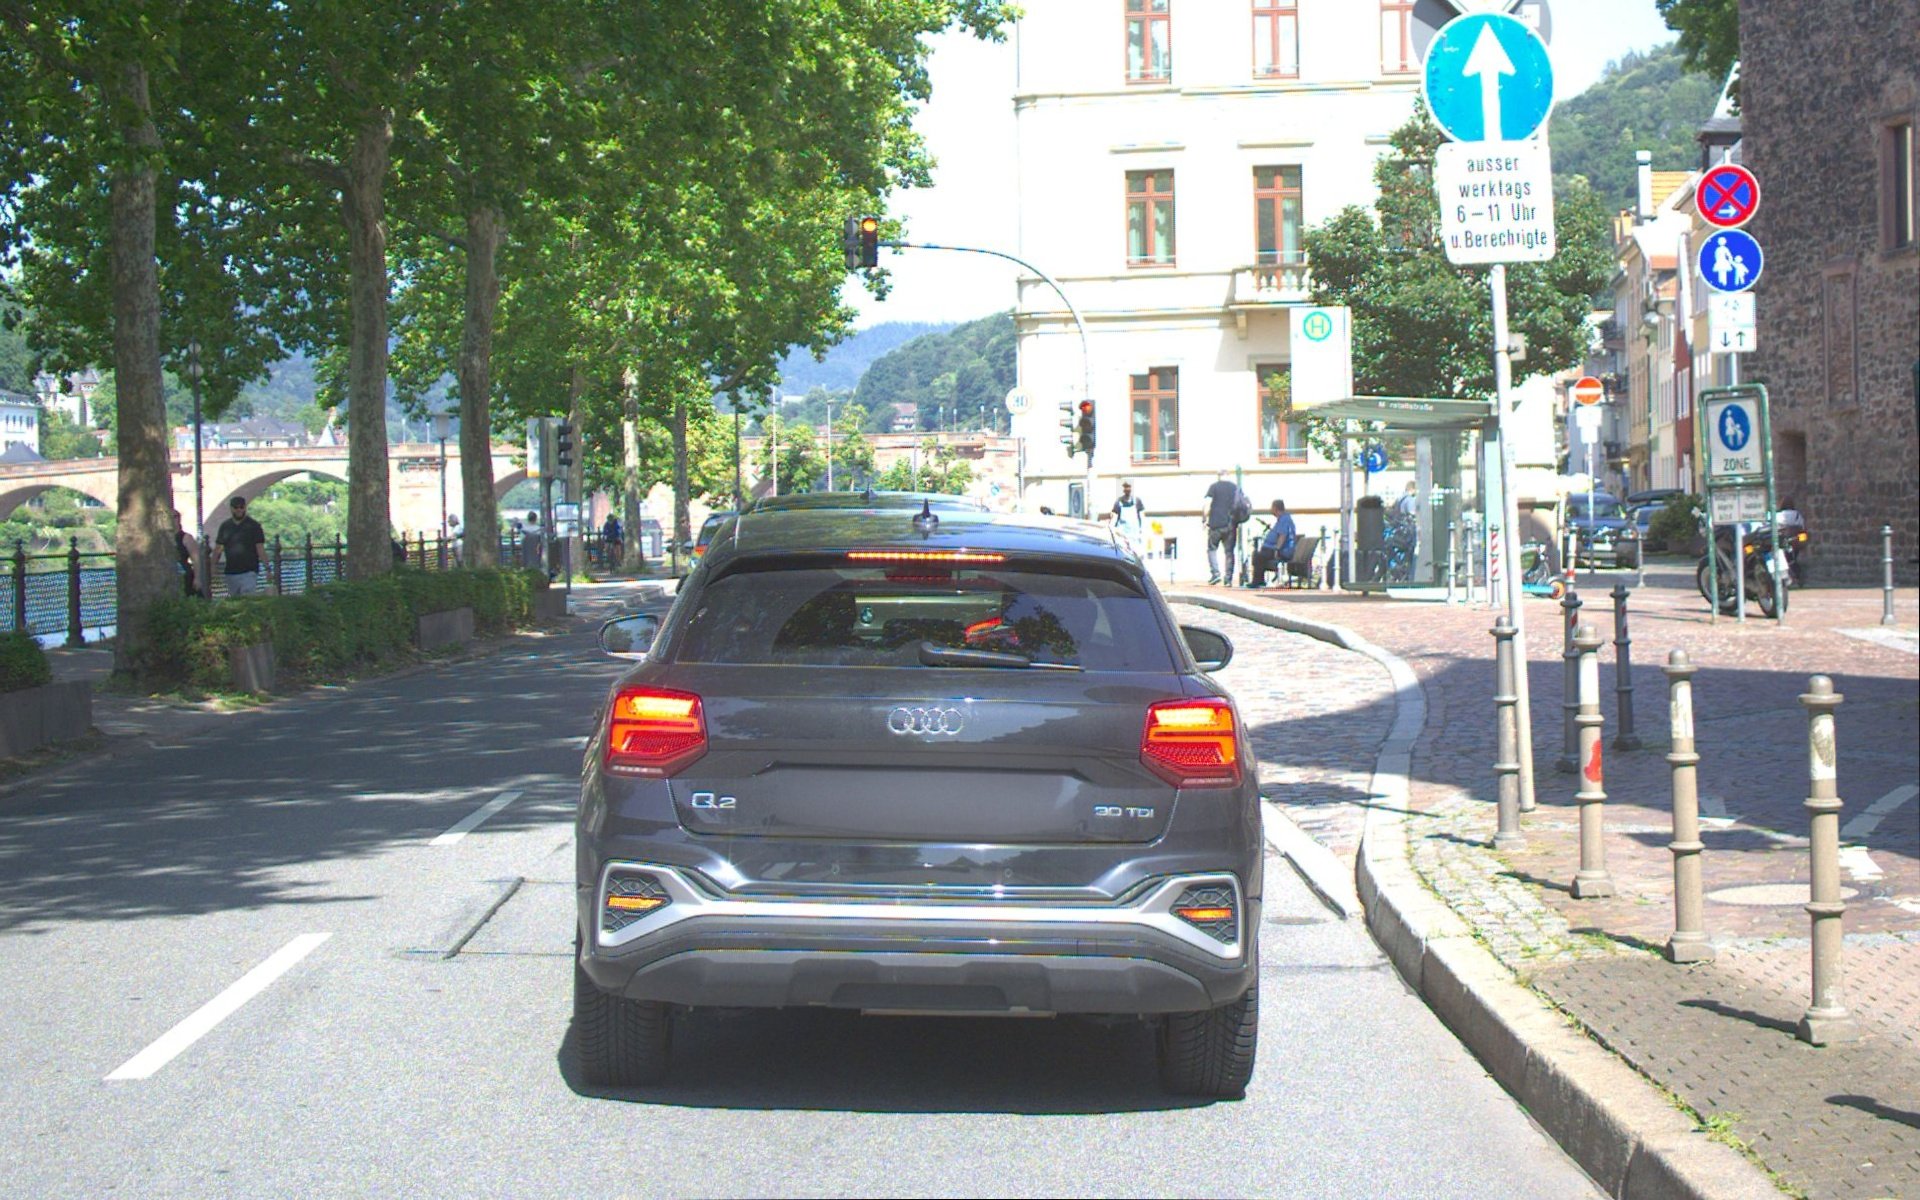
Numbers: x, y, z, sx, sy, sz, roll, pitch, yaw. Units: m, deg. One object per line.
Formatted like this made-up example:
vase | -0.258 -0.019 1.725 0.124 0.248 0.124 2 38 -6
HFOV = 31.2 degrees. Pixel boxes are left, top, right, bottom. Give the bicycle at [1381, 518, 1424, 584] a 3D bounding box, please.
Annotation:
bicycle | 6.626 -0.737 51.511 0.450 0.971 1.400 1 1 0

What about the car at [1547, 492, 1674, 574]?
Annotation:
car | 14.325 -1.487 75.878 1.993 1.710 4.000 1 1 0

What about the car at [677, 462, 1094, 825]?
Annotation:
car | -0.335 0.146 17.105 1.801 1.557 3.716 -2 1 0

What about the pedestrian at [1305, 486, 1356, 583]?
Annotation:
pedestrian | 6.004 -1.066 55.686 0.747 1.552 0.588 1 1 1

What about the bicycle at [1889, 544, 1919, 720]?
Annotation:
bicycle | 5.889 0.181 20.308 0.496 1.027 2.050 -1 1 7

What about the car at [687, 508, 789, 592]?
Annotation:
car | -4.233 -0.977 66.036 1.615 1.517 3.476 -2 1 1

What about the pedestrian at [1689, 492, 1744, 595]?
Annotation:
pedestrian | 11.060 -0.829 50.270 0.658 1.488 0.548 1 1 1

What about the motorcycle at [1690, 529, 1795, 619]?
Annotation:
motorcycle | 7.645 -0.269 33.652 0.483 0.815 2.280 -2 1 0

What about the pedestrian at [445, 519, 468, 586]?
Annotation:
pedestrian | -10.739 -1.016 73.273 0.409 1.420 0.457 1 1 -2

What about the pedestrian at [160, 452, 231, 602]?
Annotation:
pedestrian | -8.898 -0.848 40.034 0.645 1.711 0.665 -2 1 -3

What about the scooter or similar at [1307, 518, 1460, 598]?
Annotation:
scooter or similar | 5.307 -0.526 43.130 1.845 0.960 0.429 1 1 -1

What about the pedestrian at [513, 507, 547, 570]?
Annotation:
pedestrian | -8.719 -1.249 69.705 0.591 1.274 0.525 1 1 0

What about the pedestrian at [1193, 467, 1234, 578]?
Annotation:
pedestrian | 3.780 -1.156 51.271 0.557 1.627 0.660 1 1 1

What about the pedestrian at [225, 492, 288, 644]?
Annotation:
pedestrian | -8.202 -0.379 40.099 0.563 1.735 0.665 -2 1 -3

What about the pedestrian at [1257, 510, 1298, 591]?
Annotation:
pedestrian | 4.751 -0.742 51.519 0.546 1.197 0.522 1 1 1

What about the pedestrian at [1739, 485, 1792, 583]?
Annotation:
pedestrian | 12.578 -1.029 53.682 0.658 1.512 0.548 1 1 1

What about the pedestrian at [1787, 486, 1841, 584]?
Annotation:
pedestrian | 13.327 -1.012 53.666 0.658 1.512 0.627 1 1 1

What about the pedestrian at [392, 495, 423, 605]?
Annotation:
pedestrian | -9.935 -0.899 61.804 0.499 1.952 0.439 1 1 -7

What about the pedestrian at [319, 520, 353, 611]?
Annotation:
pedestrian | -10.709 -0.591 58.998 0.497 1.532 0.680 -2 1 -7

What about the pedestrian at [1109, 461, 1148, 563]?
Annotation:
pedestrian | 2.589 -1.350 52.870 0.557 1.552 0.660 1 1 1

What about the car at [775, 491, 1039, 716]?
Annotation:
car | -0.374 -0.021 25.886 1.801 1.517 3.716 -2 1 0

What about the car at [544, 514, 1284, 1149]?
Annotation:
car | -0.160 0.513 10.037 1.748 1.489 3.629 1 1 -2
